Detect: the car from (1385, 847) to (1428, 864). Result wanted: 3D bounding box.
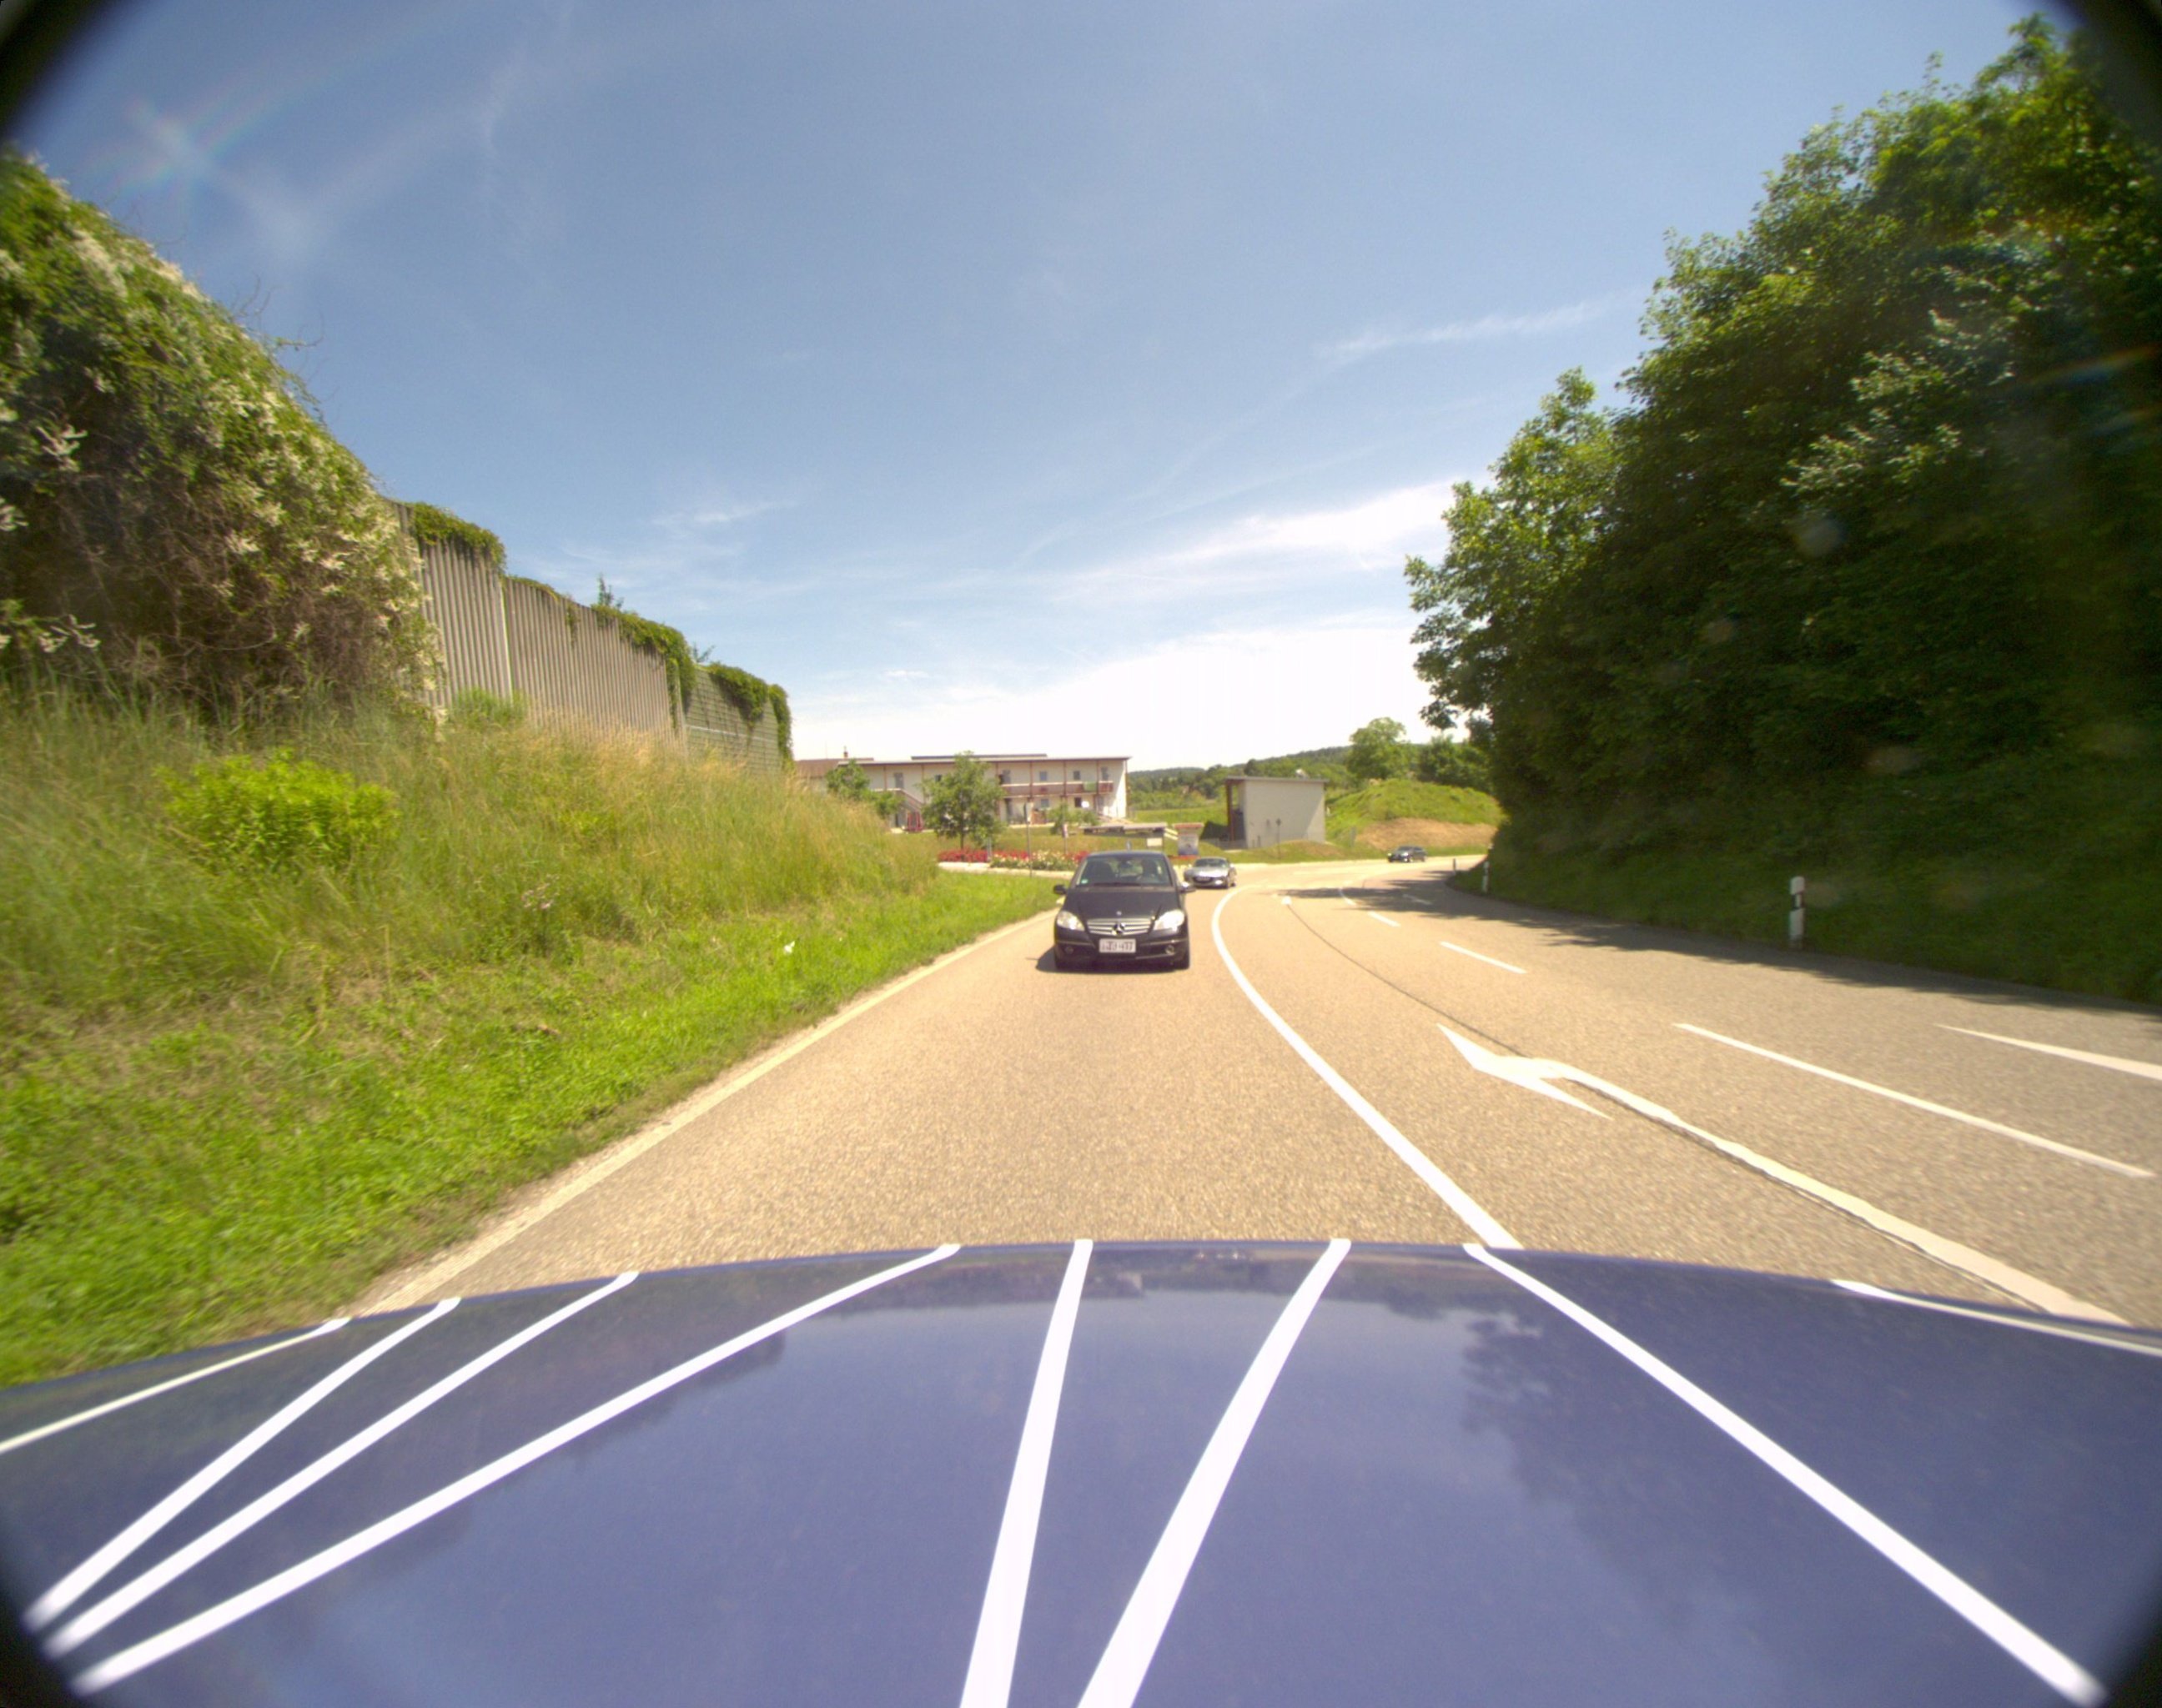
[{"bbox_3d":[26.426,0.100,61.645,1.751,1.281,4.154,2,3,45],"label":"car"}]

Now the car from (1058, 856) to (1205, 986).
[{"bbox_3d":[0.757,0.839,11.272,1.795,1.570,3.801,-1,0,4],"label":"car"}]

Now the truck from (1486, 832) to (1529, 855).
[{"bbox_3d":[42.172,-1.058,75.043,5.254,2.002,2.067,-4,2,-42],"label":"truck"}]

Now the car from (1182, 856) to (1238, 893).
[{"bbox_3d":[5.160,0.766,30.078,1.645,1.314,3.443,-1,0,19],"label":"car"}]
